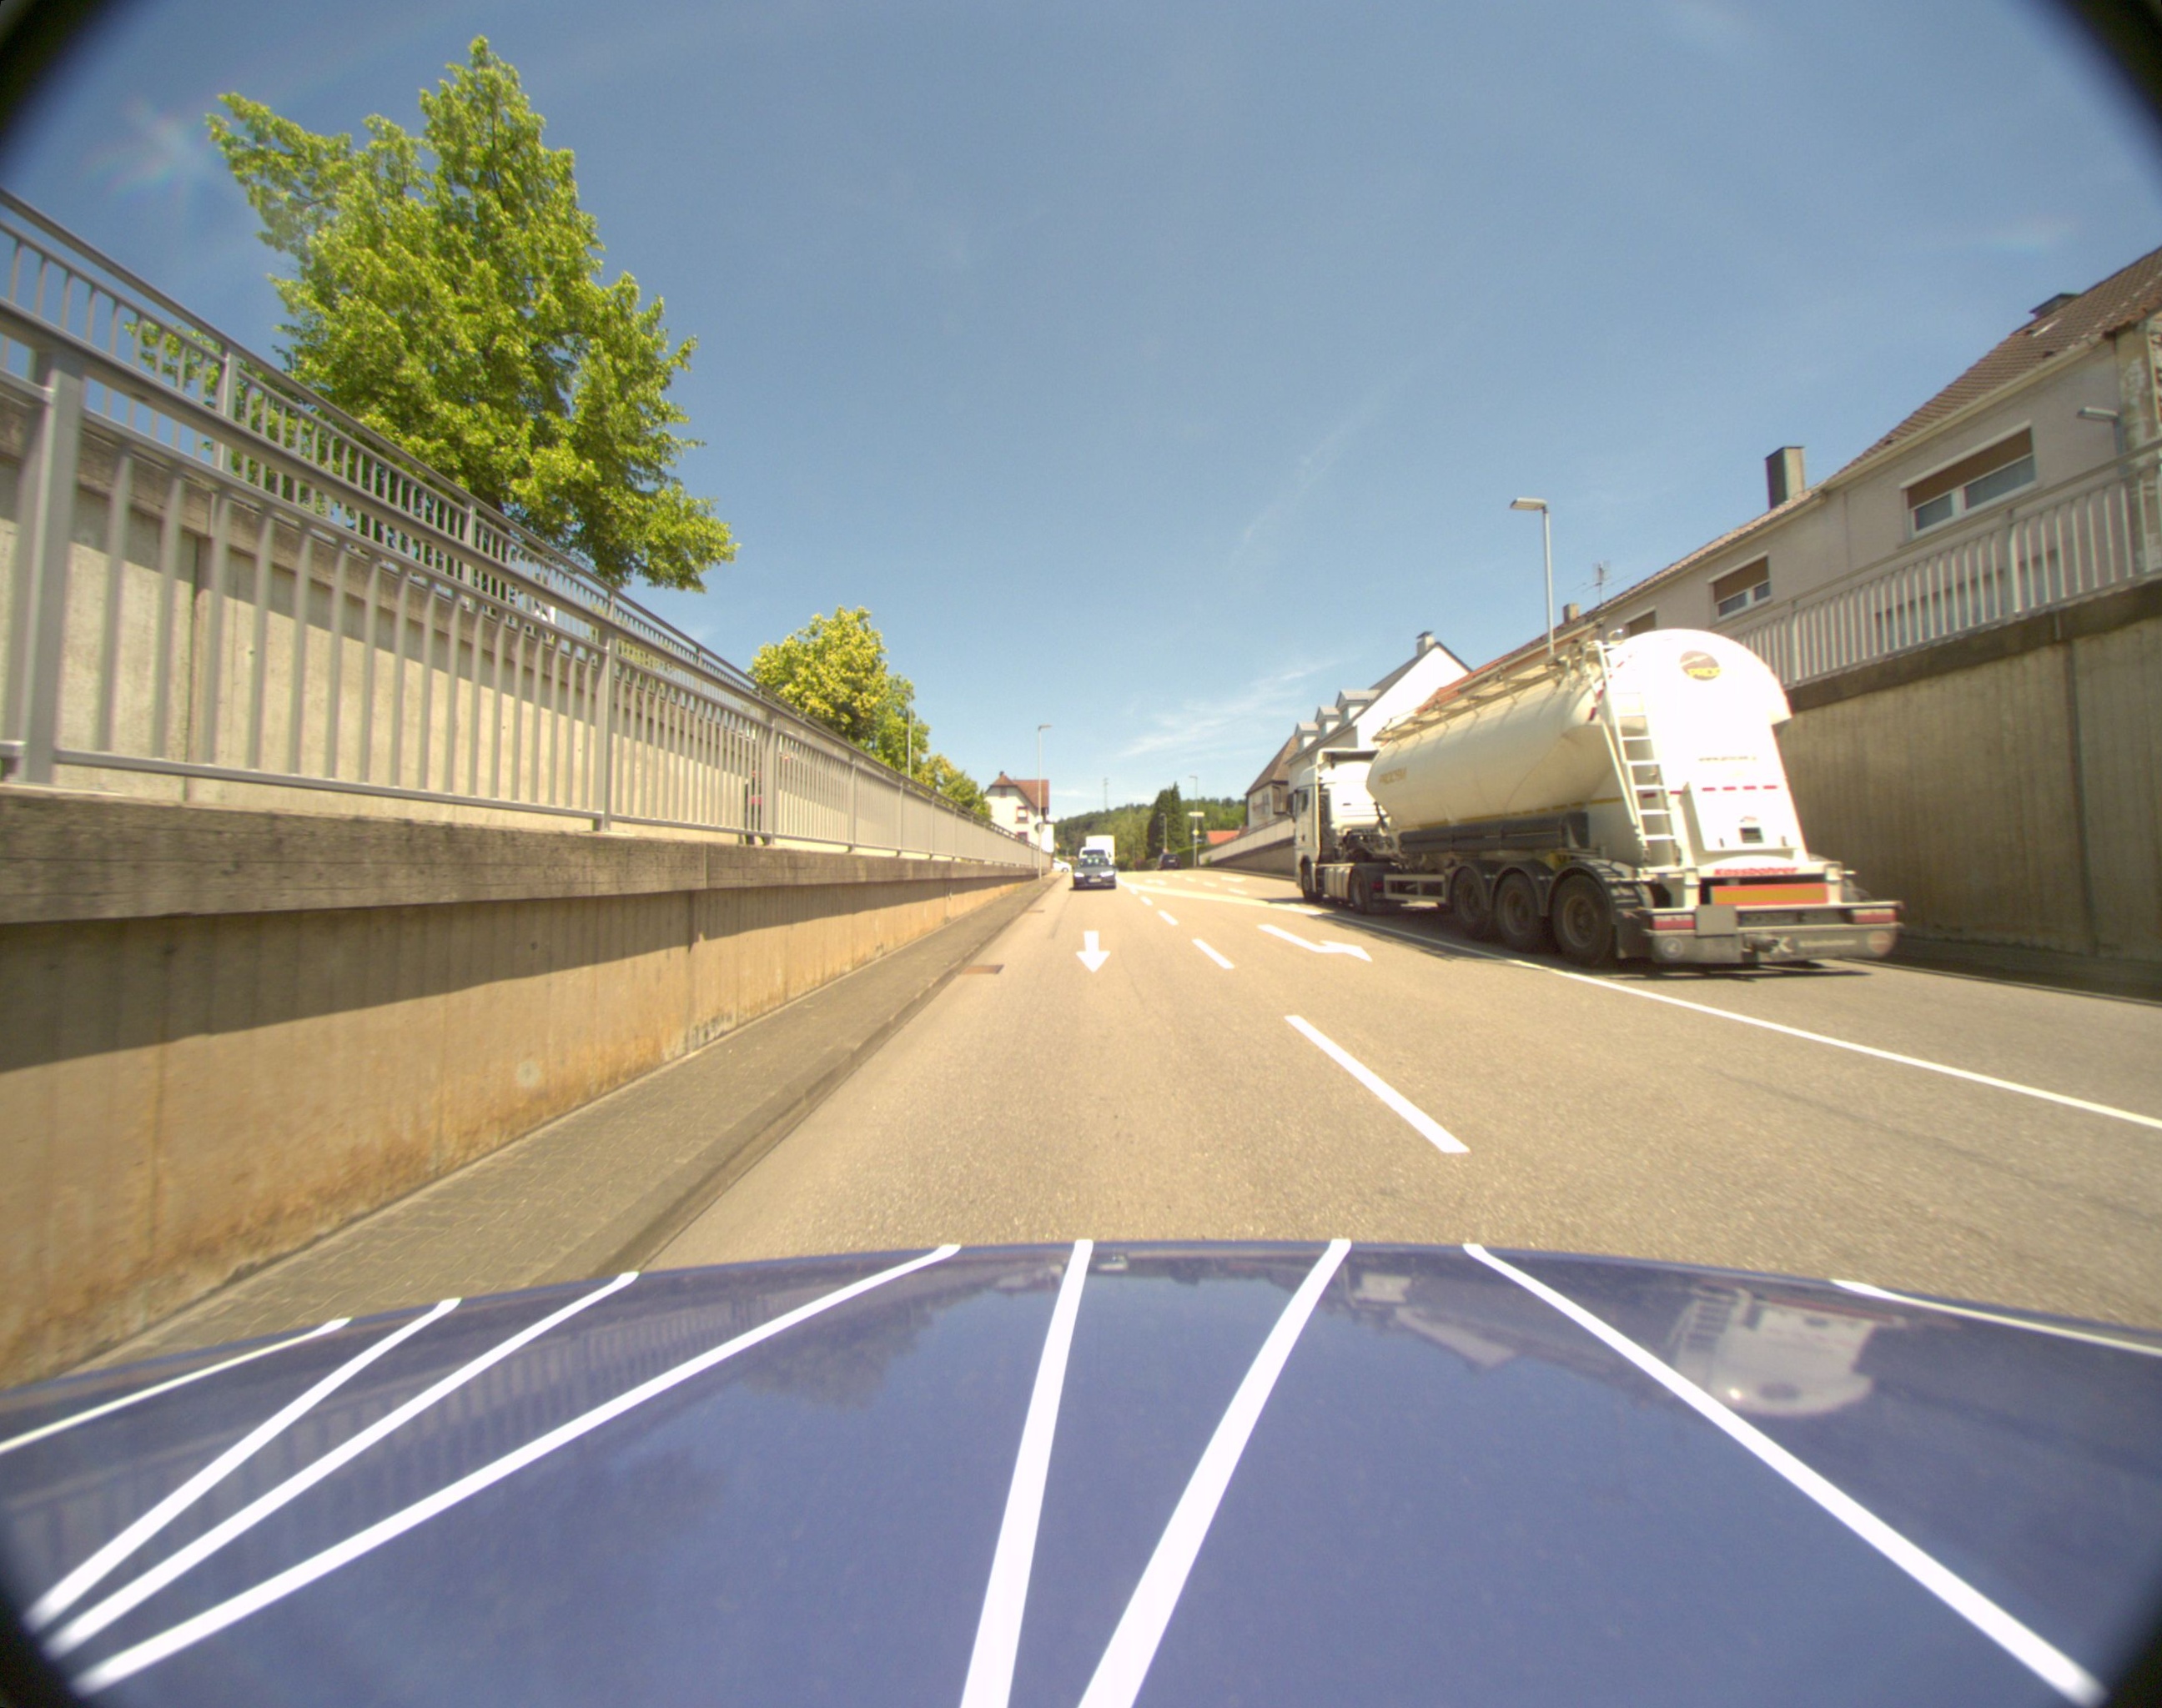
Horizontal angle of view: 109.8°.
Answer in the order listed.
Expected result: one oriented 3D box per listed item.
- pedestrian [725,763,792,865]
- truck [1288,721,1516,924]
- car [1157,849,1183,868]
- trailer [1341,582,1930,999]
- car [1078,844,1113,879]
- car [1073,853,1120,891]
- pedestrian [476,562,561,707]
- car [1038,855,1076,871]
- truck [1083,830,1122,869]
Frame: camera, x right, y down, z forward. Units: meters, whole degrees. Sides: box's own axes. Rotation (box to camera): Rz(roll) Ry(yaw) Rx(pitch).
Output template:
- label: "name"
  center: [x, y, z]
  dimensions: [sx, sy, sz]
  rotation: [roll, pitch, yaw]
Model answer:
- label: "pedestrian"
  center: [-5.794, -0.692, 13.699]
  dimensions: [0.838, 1.771, 0.788]
  rotation: [-1, 0, 1]
- label: "truck"
  center: [7.111, -0.640, 18.000]
  dimensions: [2.668, 3.838, 6.579]
  rotation: [-2, 1, 1]
- label: "car"
  center: [7.446, 0.385, 63.691]
  dimensions: [1.765, 1.480, 4.368]
  rotation: [-2, 0, 2]
- label: "trailer"
  center: [6.967, -0.644, 12.021]
  dimensions: [2.616, 3.941, 9.345]
  rotation: [-2, 1, 1]
- label: "car"
  center: [0.894, 0.437, 47.461]
  dimensions: [1.998, 2.002, 4.548]
  rotation: [-2, 1, 1]
- label: "car"
  center: [0.640, 0.717, 32.600]
  dimensions: [1.864, 1.441, 3.999]
  rotation: [-1, 1, 0]
- label: "pedestrian"
  center: [-7.574, -2.931, 10.252]
  dimensions: [0.674, 1.768, 0.594]
  rotation: [-1, -2, 2]
- label: "car"
  center: [-2.372, 0.870, 74.084]
  dimensions: [3.680, 1.469, 1.775]
  rotation: [1, -1, -5]
- label: "truck"
  center: [2.000, -0.442, 73.176]
  dimensions: [3.150, 3.467, 8.269]
  rotation: [-1, 1, -2]
